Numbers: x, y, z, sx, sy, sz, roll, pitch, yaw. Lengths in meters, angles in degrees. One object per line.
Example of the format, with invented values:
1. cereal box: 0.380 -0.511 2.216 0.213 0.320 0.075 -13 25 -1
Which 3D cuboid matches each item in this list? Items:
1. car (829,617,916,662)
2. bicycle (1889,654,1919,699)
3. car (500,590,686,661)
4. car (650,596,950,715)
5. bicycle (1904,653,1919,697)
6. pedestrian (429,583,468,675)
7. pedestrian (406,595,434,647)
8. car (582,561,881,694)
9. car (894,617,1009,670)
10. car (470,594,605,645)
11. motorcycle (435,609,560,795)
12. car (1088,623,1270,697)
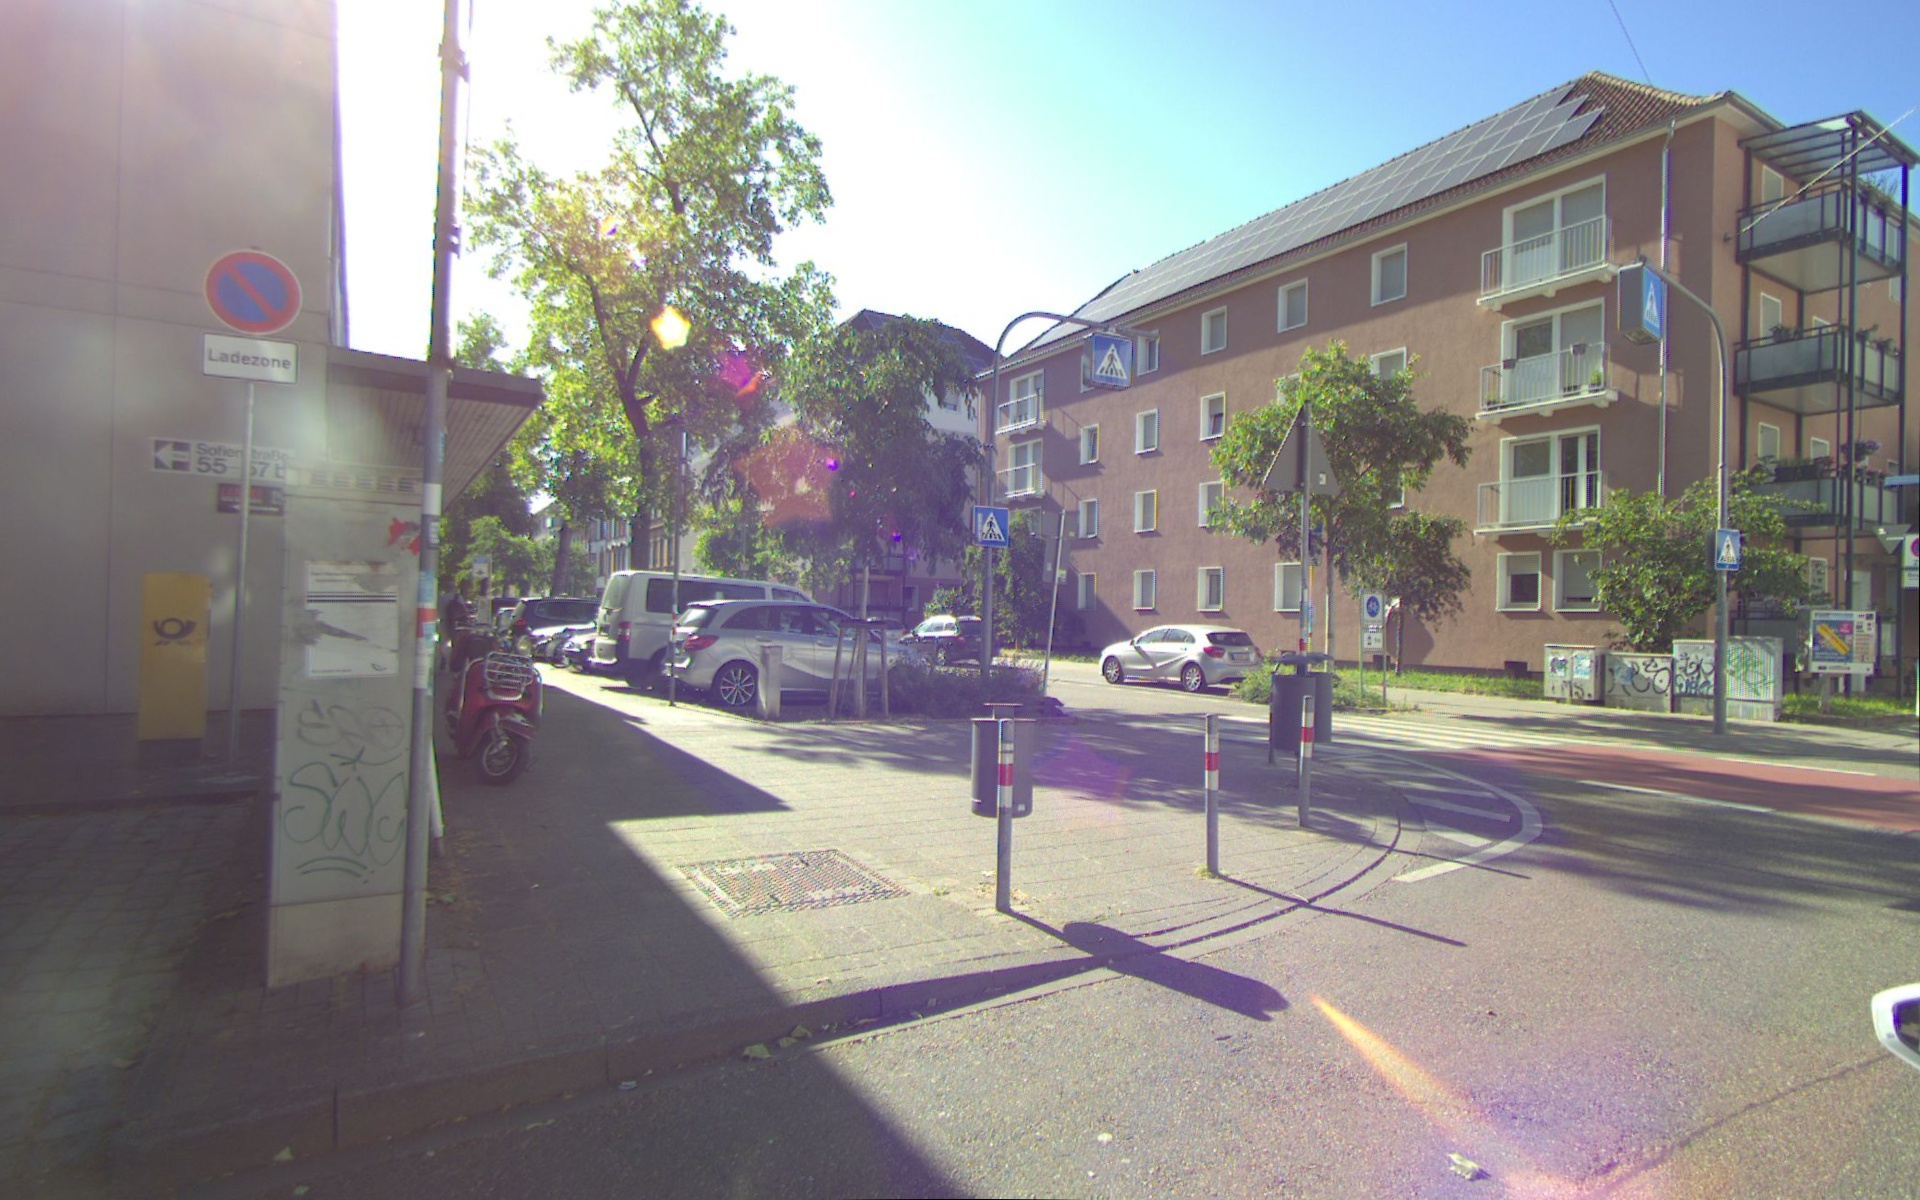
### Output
1. car: -3.287 1.442 37.212 1.725 1.539 3.827 2 -1 -30
2. bicycle: 23.670 1.898 24.914 0.285 1.049 1.217 1 -1 8
3. car: -10.243 0.737 28.133 4.591 1.828 1.821 3 -2 -32
4. car: -2.426 0.832 15.618 4.257 1.634 1.743 2 -1 -32
5. bicycle: 23.998 1.872 24.860 0.261 1.086 1.217 1 -1 8
6. pedestrian: -9.654 0.545 18.960 0.560 1.688 0.707 3 -2 -29
7. pedestrian: -16.374 0.629 30.447 0.681 1.542 0.528 3 -2 -30
8. car: -3.948 0.549 17.656 4.696 2.032 1.942 4 -2 -33
9. car: -0.357 1.338 31.823 1.768 1.539 4.274 2 -1 -30
10. car: -18.251 0.878 43.495 5.173 2.007 1.647 3 -2 -33
11. motorcycle: -3.604 0.703 7.744 0.662 1.196 1.906 2 0 -30
12. car: 4.897 1.309 22.990 1.726 1.473 4.120 2 -1 -31
